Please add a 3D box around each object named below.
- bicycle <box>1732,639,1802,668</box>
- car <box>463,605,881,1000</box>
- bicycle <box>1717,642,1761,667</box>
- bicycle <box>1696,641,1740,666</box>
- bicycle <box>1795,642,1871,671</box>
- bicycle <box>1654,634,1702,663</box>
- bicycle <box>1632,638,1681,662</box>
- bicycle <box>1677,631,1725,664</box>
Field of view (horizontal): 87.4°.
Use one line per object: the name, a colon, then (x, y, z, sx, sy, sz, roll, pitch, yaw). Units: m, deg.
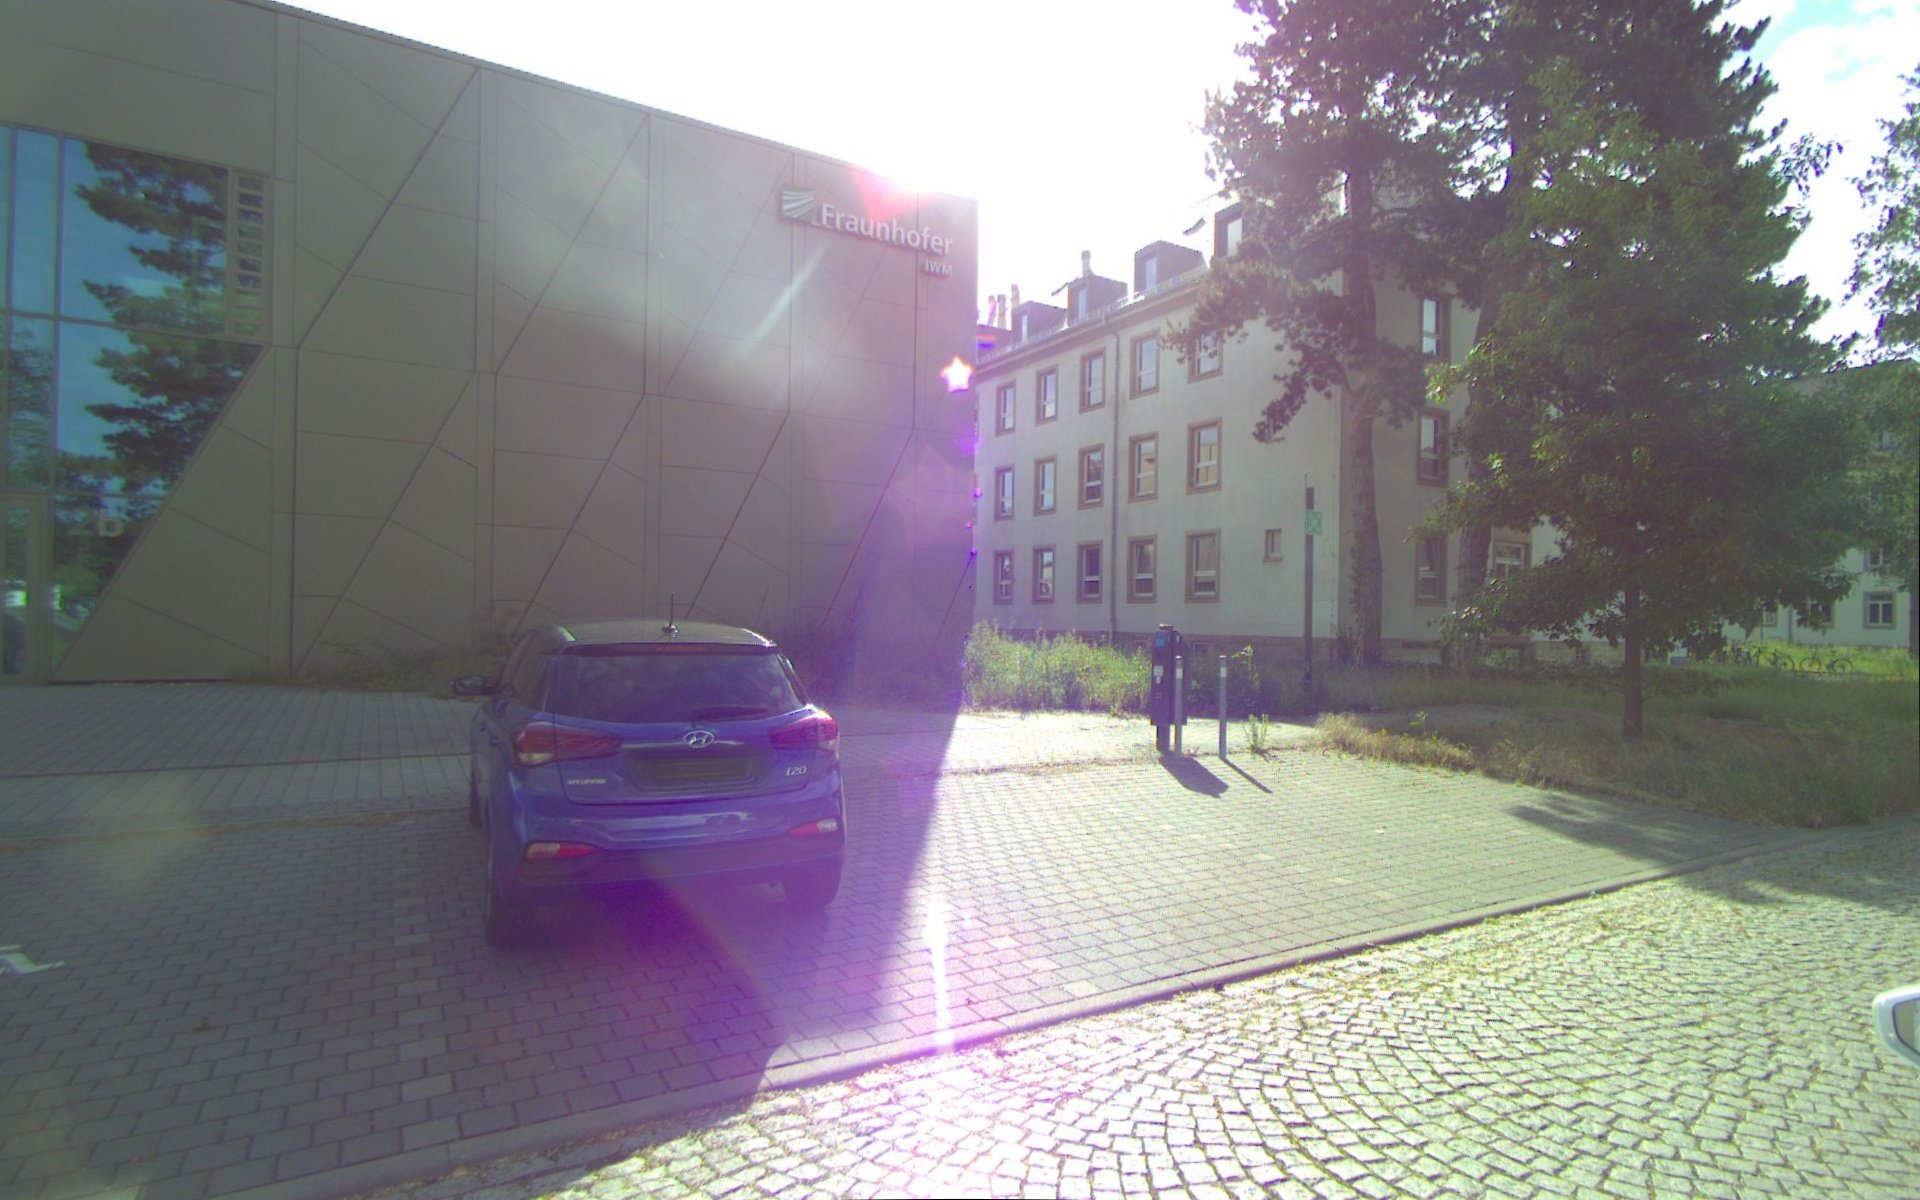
bicycle: (33.155, 2.187, 41.270, 0.820, 1.123, 2.104, 2, -1, -33)
car: (-2.024, 0.845, 6.115, 1.698, 1.483, 3.820, 2, 0, -27)
bicycle: (33.488, 2.332, 43.169, 2.100, 1.061, 0.822, 2, -1, -31)
bicycle: (33.065, 2.319, 43.823, 2.100, 1.061, 0.822, 2, -1, -31)
bicycle: (34.287, 2.218, 39.481, 0.820, 1.061, 2.104, 2, -1, -33)
bicycle: (32.325, 2.179, 45.198, 2.524, 1.298, 0.822, 2, -1, -31)
bicycle: (31.877, 2.284, 45.977, 2.524, 1.061, 0.896, 2, -1, -31)
bicycle: (32.965, 2.106, 44.685, 2.524, 1.456, 0.822, 2, -1, -31)
